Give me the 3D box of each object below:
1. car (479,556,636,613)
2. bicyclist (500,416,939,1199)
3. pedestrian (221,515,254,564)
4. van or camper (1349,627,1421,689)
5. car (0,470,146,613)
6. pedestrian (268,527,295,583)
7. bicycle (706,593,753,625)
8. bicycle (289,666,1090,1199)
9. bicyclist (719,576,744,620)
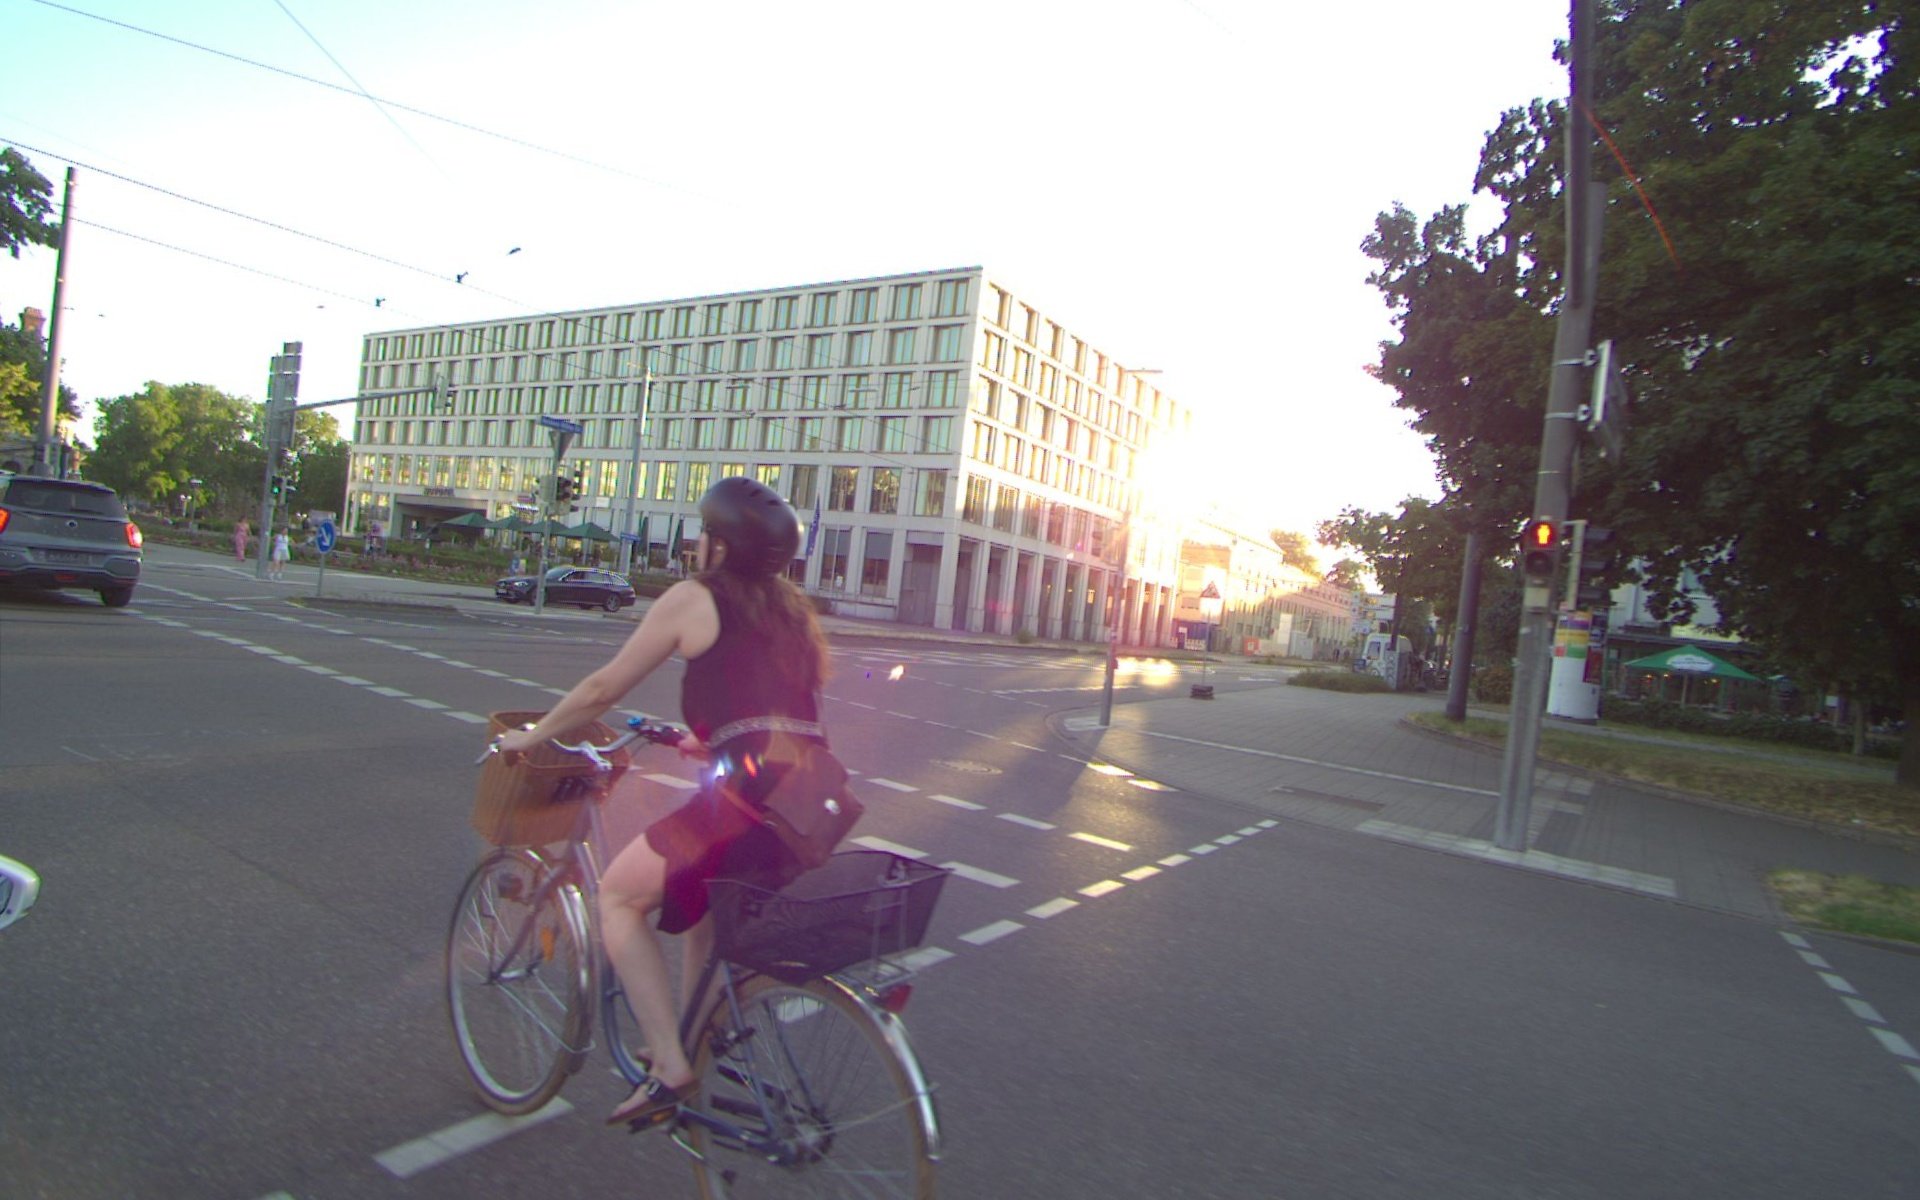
[{"bbox_3d":[-14.077,-0.512,35.411,1.793,1.541,4.786,4,-2,41],"label":"car"},{"bbox_3d":[-0.546,0.464,2.362,0.587,1.656,0.609,7,1,32],"label":"bicyclist"},{"bbox_3d":[-26.031,-2.176,36.250,0.716,1.646,0.734,6,1,-24],"label":"pedestrian"},{"bbox_3d":[21.257,2.940,50.165,2.079,2.715,4.695,7,0,36],"label":"van or camper"},{"bbox_3d":[-12.808,-0.880,13.496,4.023,1.625,1.694,7,0,33],"label":"car"},{"bbox_3d":[-21.169,-1.408,31.380,0.533,1.646,0.621,6,1,-38],"label":"pedestrian"},{"bbox_3d":[-9.057,0.363,39.524,0.532,1.064,1.753,7,0,39],"label":"bicycle"},{"bbox_3d":[-0.794,0.861,2.510,2.052,1.128,0.608,6,0,32],"label":"bicycle"},{"bbox_3d":[-8.976,-0.070,39.554,0.533,1.656,0.594,7,1,40],"label":"bicyclist"}]
